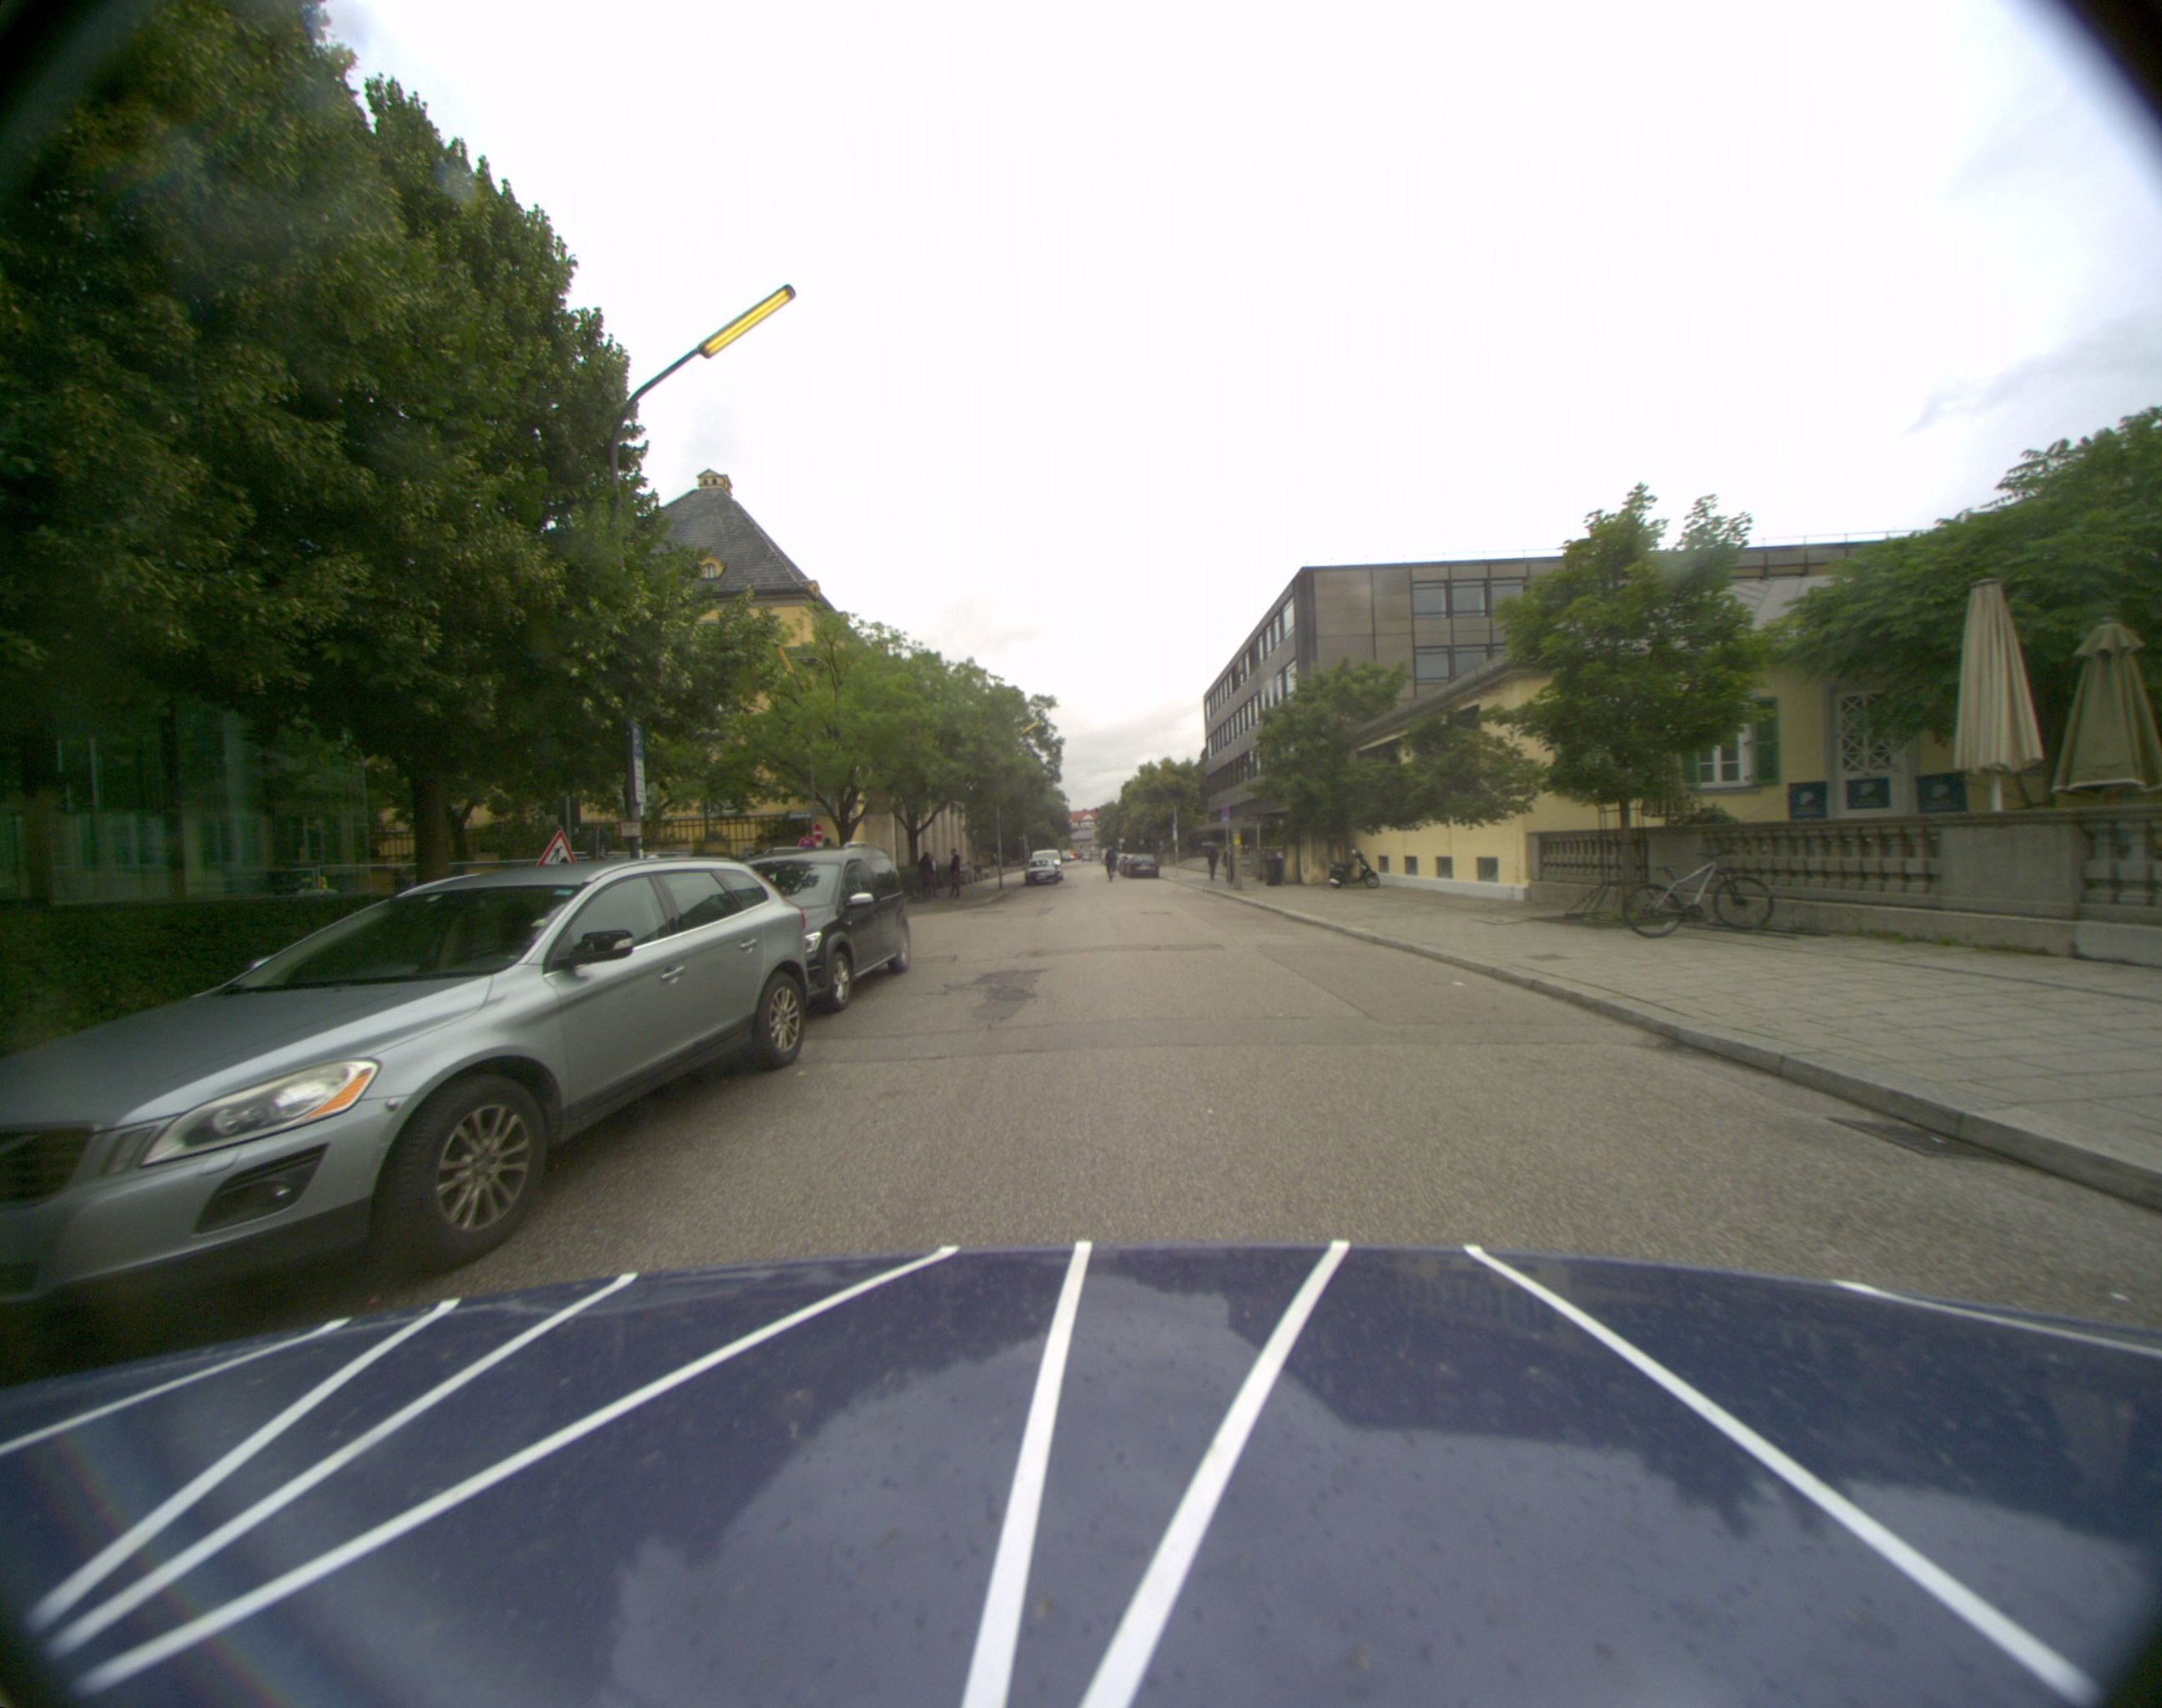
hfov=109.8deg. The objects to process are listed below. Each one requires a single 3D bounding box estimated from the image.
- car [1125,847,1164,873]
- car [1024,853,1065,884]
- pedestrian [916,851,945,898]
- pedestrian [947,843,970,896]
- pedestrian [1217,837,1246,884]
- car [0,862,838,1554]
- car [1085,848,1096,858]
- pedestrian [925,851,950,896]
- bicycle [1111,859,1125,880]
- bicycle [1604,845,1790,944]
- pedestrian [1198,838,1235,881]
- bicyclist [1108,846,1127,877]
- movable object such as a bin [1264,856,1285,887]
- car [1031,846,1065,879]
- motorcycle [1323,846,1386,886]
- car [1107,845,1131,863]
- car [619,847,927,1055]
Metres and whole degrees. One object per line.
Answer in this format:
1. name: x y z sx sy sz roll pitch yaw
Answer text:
1. car: 3.762 0.329 45.970 1.929 1.391 4.486 -2 1 0
2. car: -1.963 0.758 41.875 1.958 1.494 4.486 -4 1 0
3. pedestrian: -5.835 0.788 29.493 0.691 1.775 0.893 -4 1 -34
4. pedestrian: -4.856 0.599 30.073 0.690 2.002 0.894 -4 1 -14
5. pedestrian: 6.714 0.290 33.977 0.977 2.002 0.914 -4 1 0
6. car: -3.262 0.994 4.381 1.872 1.682 4.785 -4 1 3
7. car: 2.006 -0.137 162.818 1.999 2.002 3.999 -4 1 -1
8. pedestrian: -5.803 0.778 30.720 0.700 1.749 0.684 -4 1 -29
9. bicycle: 1.904 0.806 39.665 0.607 1.014 2.308 -1 1 0
10. bicycle: 7.843 0.507 9.717 1.847 1.028 0.466 -7 0 4
11. pedestrian: 6.734 0.278 37.933 1.479 2.002 1.500 -4 1 0
12. bicyclist: 1.880 0.367 39.453 0.903 1.602 1.067 -1 1 0
13. movable object such as a bin: 7.256 0.637 28.486 0.615 1.102 0.460 -4 1 0
14. car: -2.005 0.483 47.944 1.830 1.884 4.486 -4 1 0
15. motorcycle: 8.449 0.380 23.499 1.664 1.106 0.591 -4 2 44
16. car: 3.522 0.022 70.707 1.998 1.555 3.999 -2 1 0
17. car: -3.260 0.875 9.140 1.814 1.797 4.347 -4 1 0
